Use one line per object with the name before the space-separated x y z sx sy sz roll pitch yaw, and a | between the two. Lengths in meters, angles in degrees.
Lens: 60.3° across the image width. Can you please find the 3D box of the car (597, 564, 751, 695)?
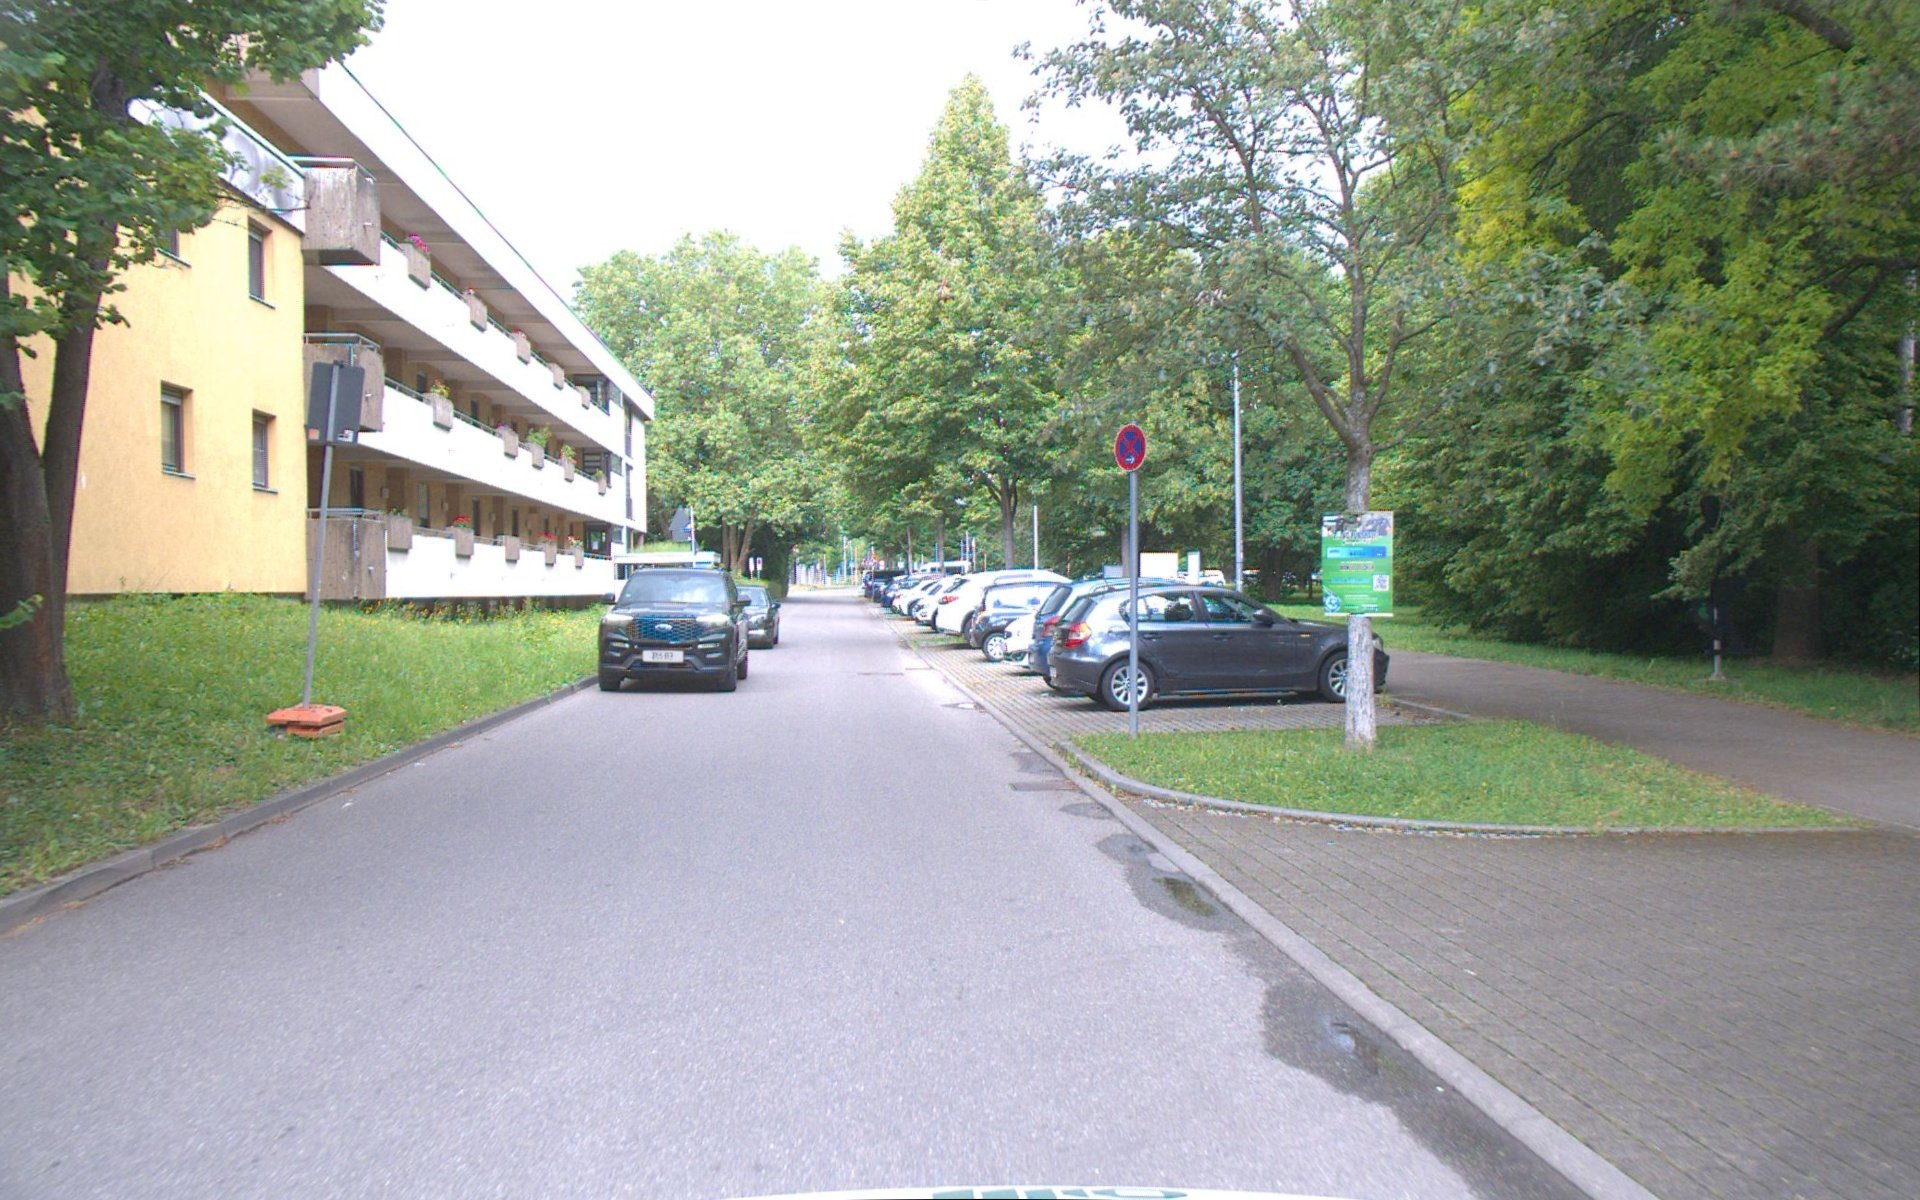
car | -4.182 0.380 24.798 1.930 1.778 4.333 0 0 -6

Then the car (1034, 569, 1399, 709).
car | 3.032 0.466 20.098 3.984 1.459 1.997 -2 -1 -6

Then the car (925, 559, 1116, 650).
car | 1.330 0.090 37.462 3.988 1.716 1.819 -4 1 -8

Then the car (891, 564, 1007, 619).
car | -0.428 -0.320 61.026 3.988 1.716 1.819 -4 1 -8

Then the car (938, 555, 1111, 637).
car | 1.586 -0.116 41.593 3.988 1.716 1.819 -4 1 -8

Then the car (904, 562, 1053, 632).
car | 0.502 -0.099 47.939 3.988 1.716 1.819 -4 1 -8

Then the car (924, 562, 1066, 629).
car | 1.044 -0.142 50.582 3.988 1.716 1.819 -4 1 -8

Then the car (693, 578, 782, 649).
car | -5.243 0.282 39.427 1.930 1.603 4.333 0 0 -6

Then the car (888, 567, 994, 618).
car | -0.775 -0.307 66.612 3.988 1.716 1.819 -4 1 -8

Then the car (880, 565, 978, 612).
car | -1.377 -0.516 71.878 3.988 1.716 1.819 -4 1 -8

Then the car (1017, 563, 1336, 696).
car | 2.894 0.395 22.615 3.984 1.596 1.820 -2 -1 -6

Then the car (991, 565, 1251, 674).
car | 2.620 0.296 27.462 3.984 1.595 1.820 -2 1 -6

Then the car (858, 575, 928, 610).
car | -4.082 -0.472 100.039 3.988 1.801 1.819 -4 1 -8

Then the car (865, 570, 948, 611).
car | -2.785 -0.503 85.045 3.988 1.801 1.819 -4 1 -8

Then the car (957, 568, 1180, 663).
car | 2.074 0.280 32.287 3.988 1.514 1.819 -4 1 -8
